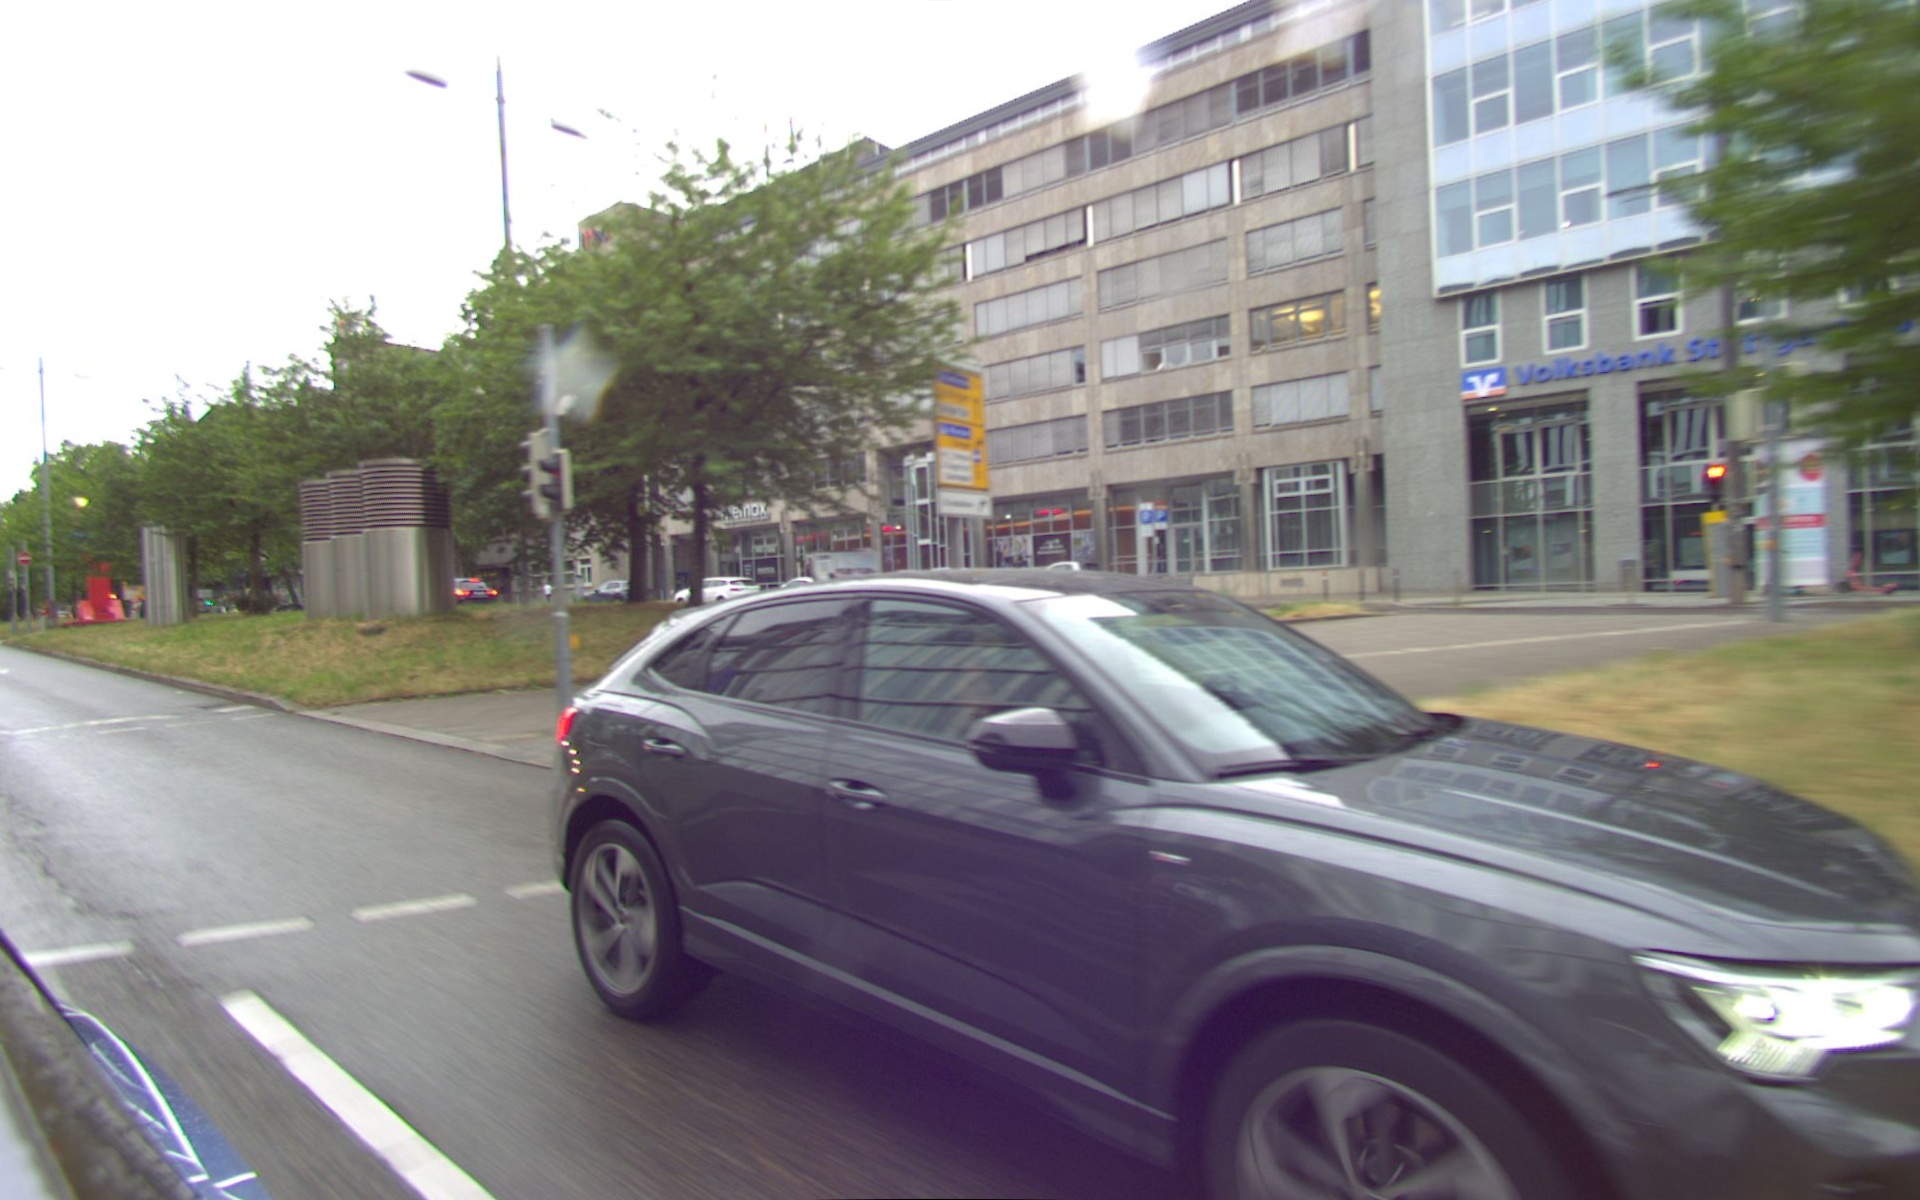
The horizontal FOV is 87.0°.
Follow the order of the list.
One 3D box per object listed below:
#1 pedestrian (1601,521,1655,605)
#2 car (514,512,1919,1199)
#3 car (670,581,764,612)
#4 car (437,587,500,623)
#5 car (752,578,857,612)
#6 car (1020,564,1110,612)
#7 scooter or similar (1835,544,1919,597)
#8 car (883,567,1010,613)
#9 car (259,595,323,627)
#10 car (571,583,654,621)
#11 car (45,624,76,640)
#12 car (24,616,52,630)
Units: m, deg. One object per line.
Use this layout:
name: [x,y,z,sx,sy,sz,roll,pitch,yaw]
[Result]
pedestrian: [15.462,-0.838,23.456,0.928,1.895,0.950,-1,0,28]
car: [0.499,0.649,3.177,4.344,1.529,1.841,-1,1,42]
car: [-10.296,-0.156,42.741,4.100,1.130,1.557,-1,3,37]
car: [-20.980,0.224,43.177,2.625,1.395,1.394,-1,3,40]
car: [-6.057,-0.193,39.253,4.100,1.130,1.557,-1,3,37]
car: [3.370,-0.377,32.613,2.625,1.395,1.228,-1,3,41]
scooter or similar: [22.829,-0.722,24.646,2.242,1.221,0.765,-1,1,37]
car: [-0.524,-0.338,35.590,4.312,1.395,1.660,-1,3,37]
car: [-37.584,0.612,56.817,4.105,1.591,1.856,-1,3,41]
car: [-16.368,0.109,47.605,4.100,1.591,1.557,-1,3,37]
car: [-103.757,3.686,116.752,4.105,1.599,2.046,-1,3,41]
car: [-118.247,2.918,129.779,4.105,1.599,2.046,-1,3,41]
